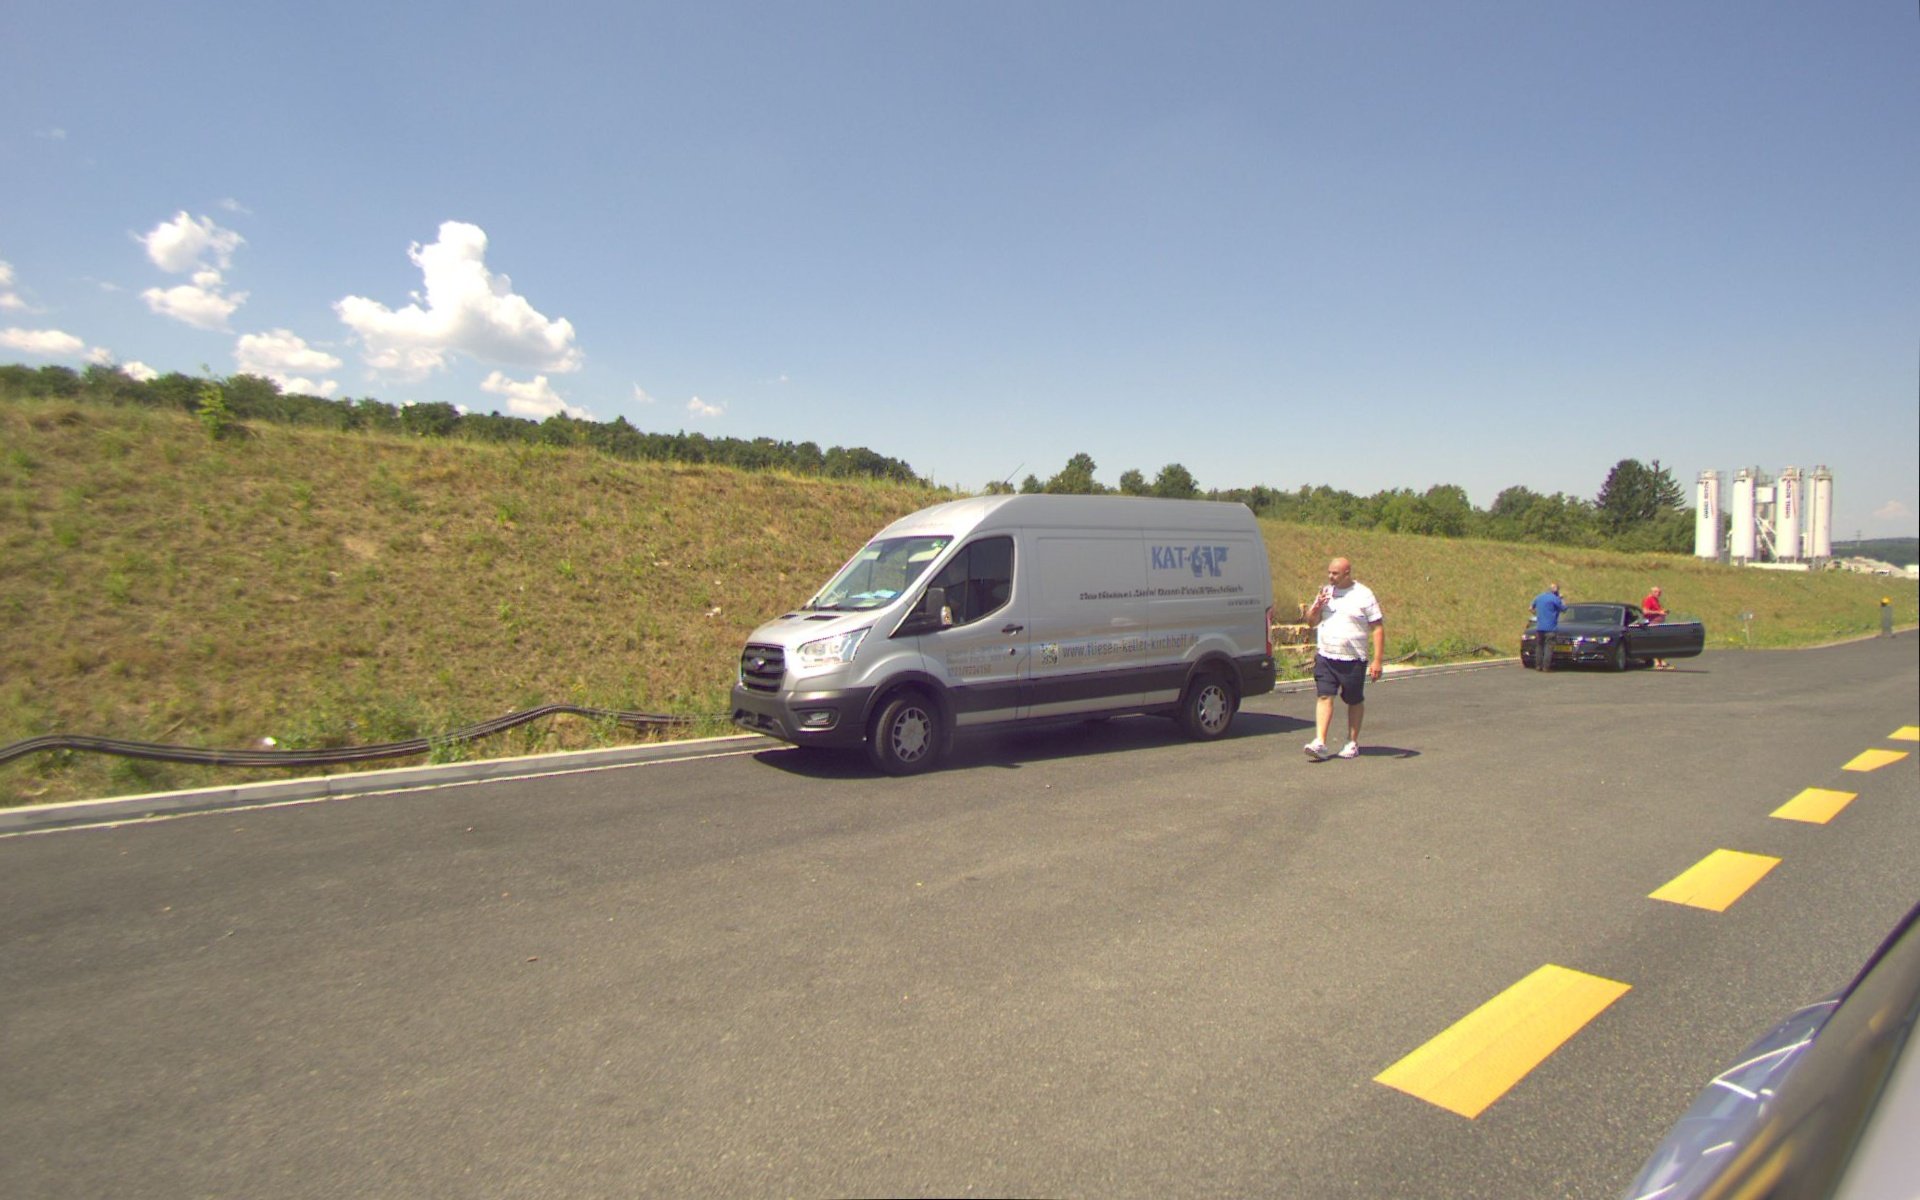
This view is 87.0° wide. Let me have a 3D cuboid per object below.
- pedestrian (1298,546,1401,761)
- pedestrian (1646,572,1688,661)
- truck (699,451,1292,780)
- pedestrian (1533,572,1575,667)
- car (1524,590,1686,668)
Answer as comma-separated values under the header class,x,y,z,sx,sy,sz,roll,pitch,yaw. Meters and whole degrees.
class,x,y,z,sx,sy,sz,roll,pitch,yaw
pedestrian,3.551,0.453,9.217,0.720,1.851,0.711,-1,0,33
pedestrian,14.956,0.345,21.417,0.636,1.851,0.553,-1,-1,29
truck,0.565,0.112,10.158,5.811,2.488,2.137,0,0,-34
pedestrian,11.750,0.380,20.023,0.623,1.851,0.634,-1,-1,38
car,13.904,0.547,21.708,4.465,1.444,1.658,0,2,-41
